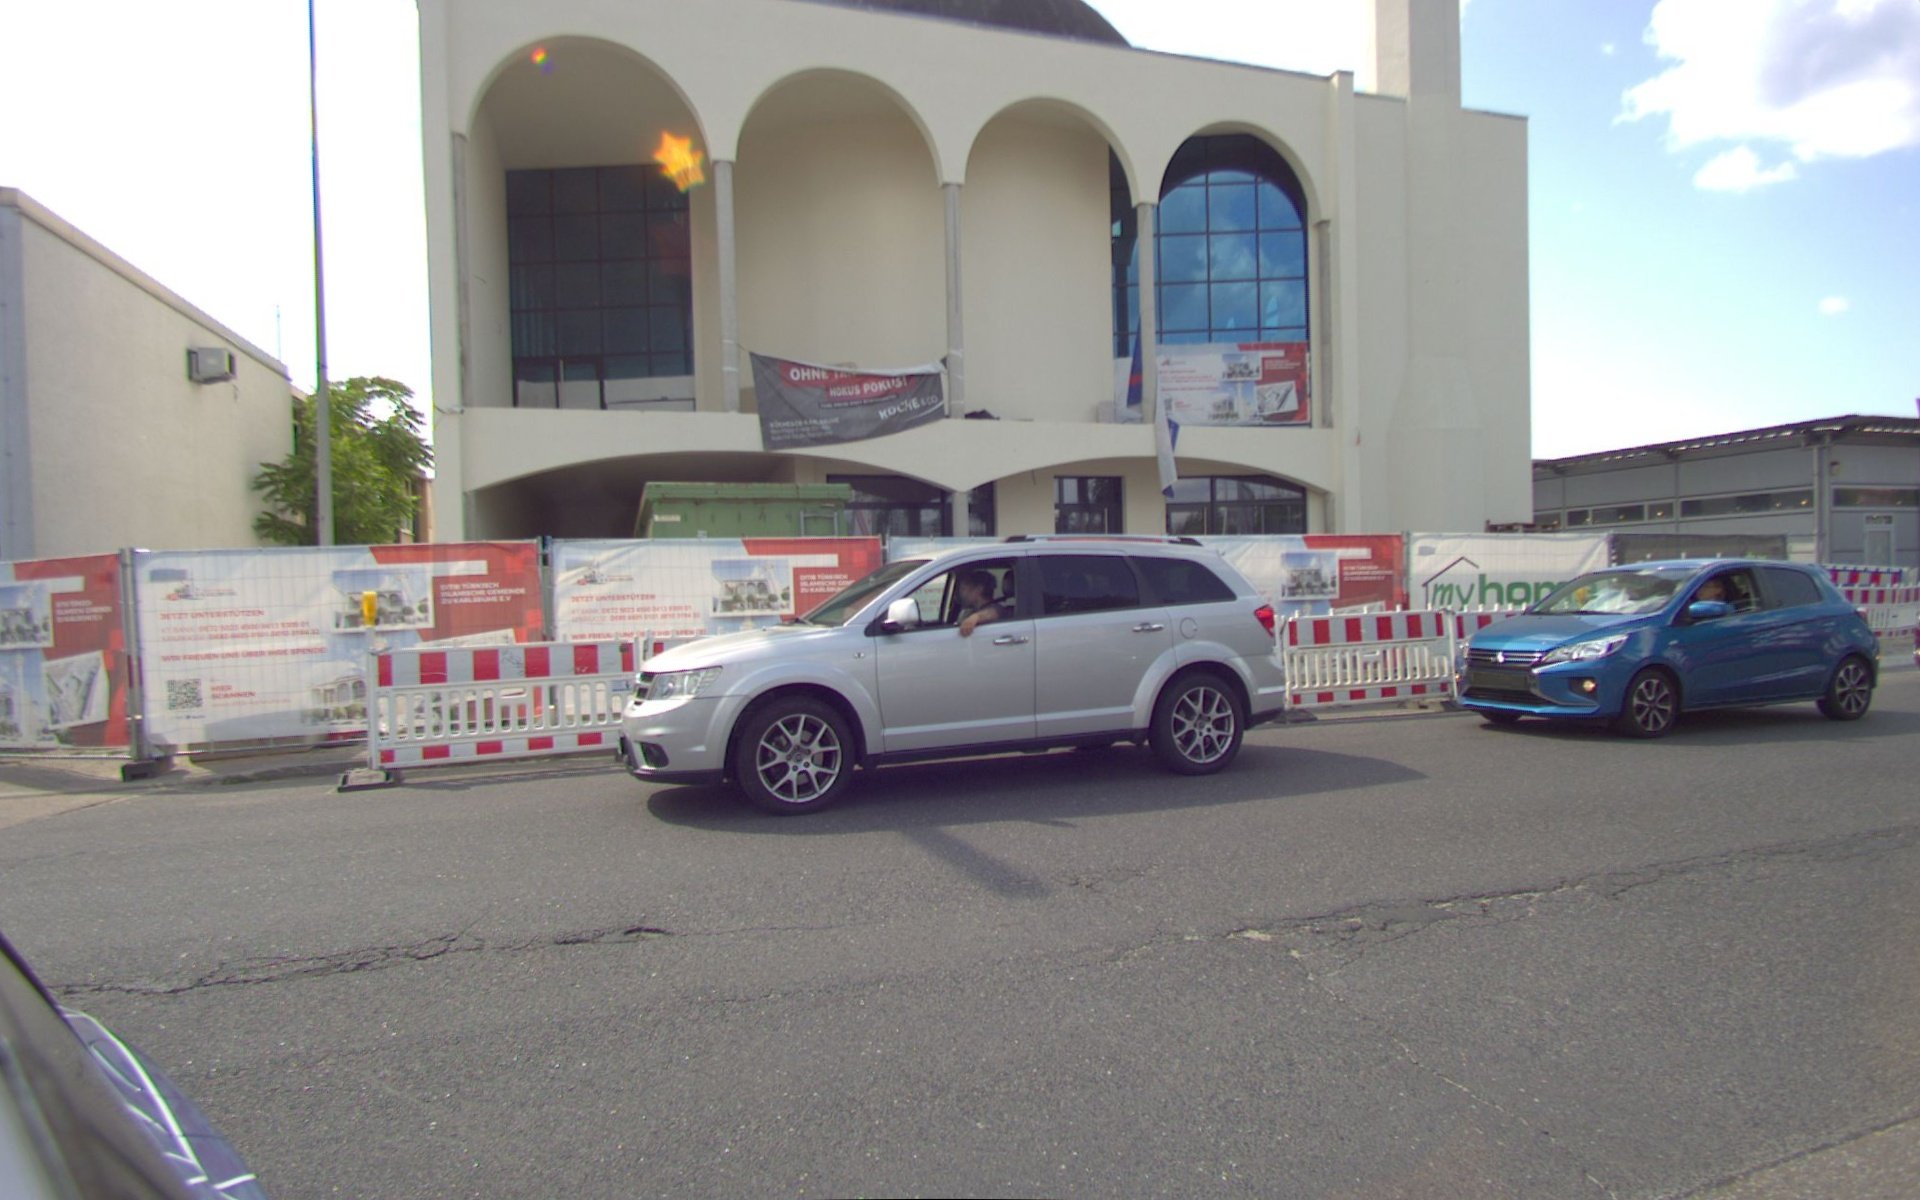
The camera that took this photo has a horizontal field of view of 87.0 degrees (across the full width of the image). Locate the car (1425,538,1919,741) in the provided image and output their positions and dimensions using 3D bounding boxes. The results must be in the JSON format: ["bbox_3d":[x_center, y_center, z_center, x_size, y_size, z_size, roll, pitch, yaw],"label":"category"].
[{"bbox_3d":[6.555,0.264,9.195,4.124,1.525,1.702,-2,0,-18],"label":"car"}]

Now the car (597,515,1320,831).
[{"bbox_3d":[-0.026,0.378,7.210,4.755,1.712,1.874,-1,-1,-21],"label":"car"}]

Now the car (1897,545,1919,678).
[{"bbox_3d":[13.212,0.076,11.586,4.122,1.521,1.797,-2,0,-17],"label":"car"}]
